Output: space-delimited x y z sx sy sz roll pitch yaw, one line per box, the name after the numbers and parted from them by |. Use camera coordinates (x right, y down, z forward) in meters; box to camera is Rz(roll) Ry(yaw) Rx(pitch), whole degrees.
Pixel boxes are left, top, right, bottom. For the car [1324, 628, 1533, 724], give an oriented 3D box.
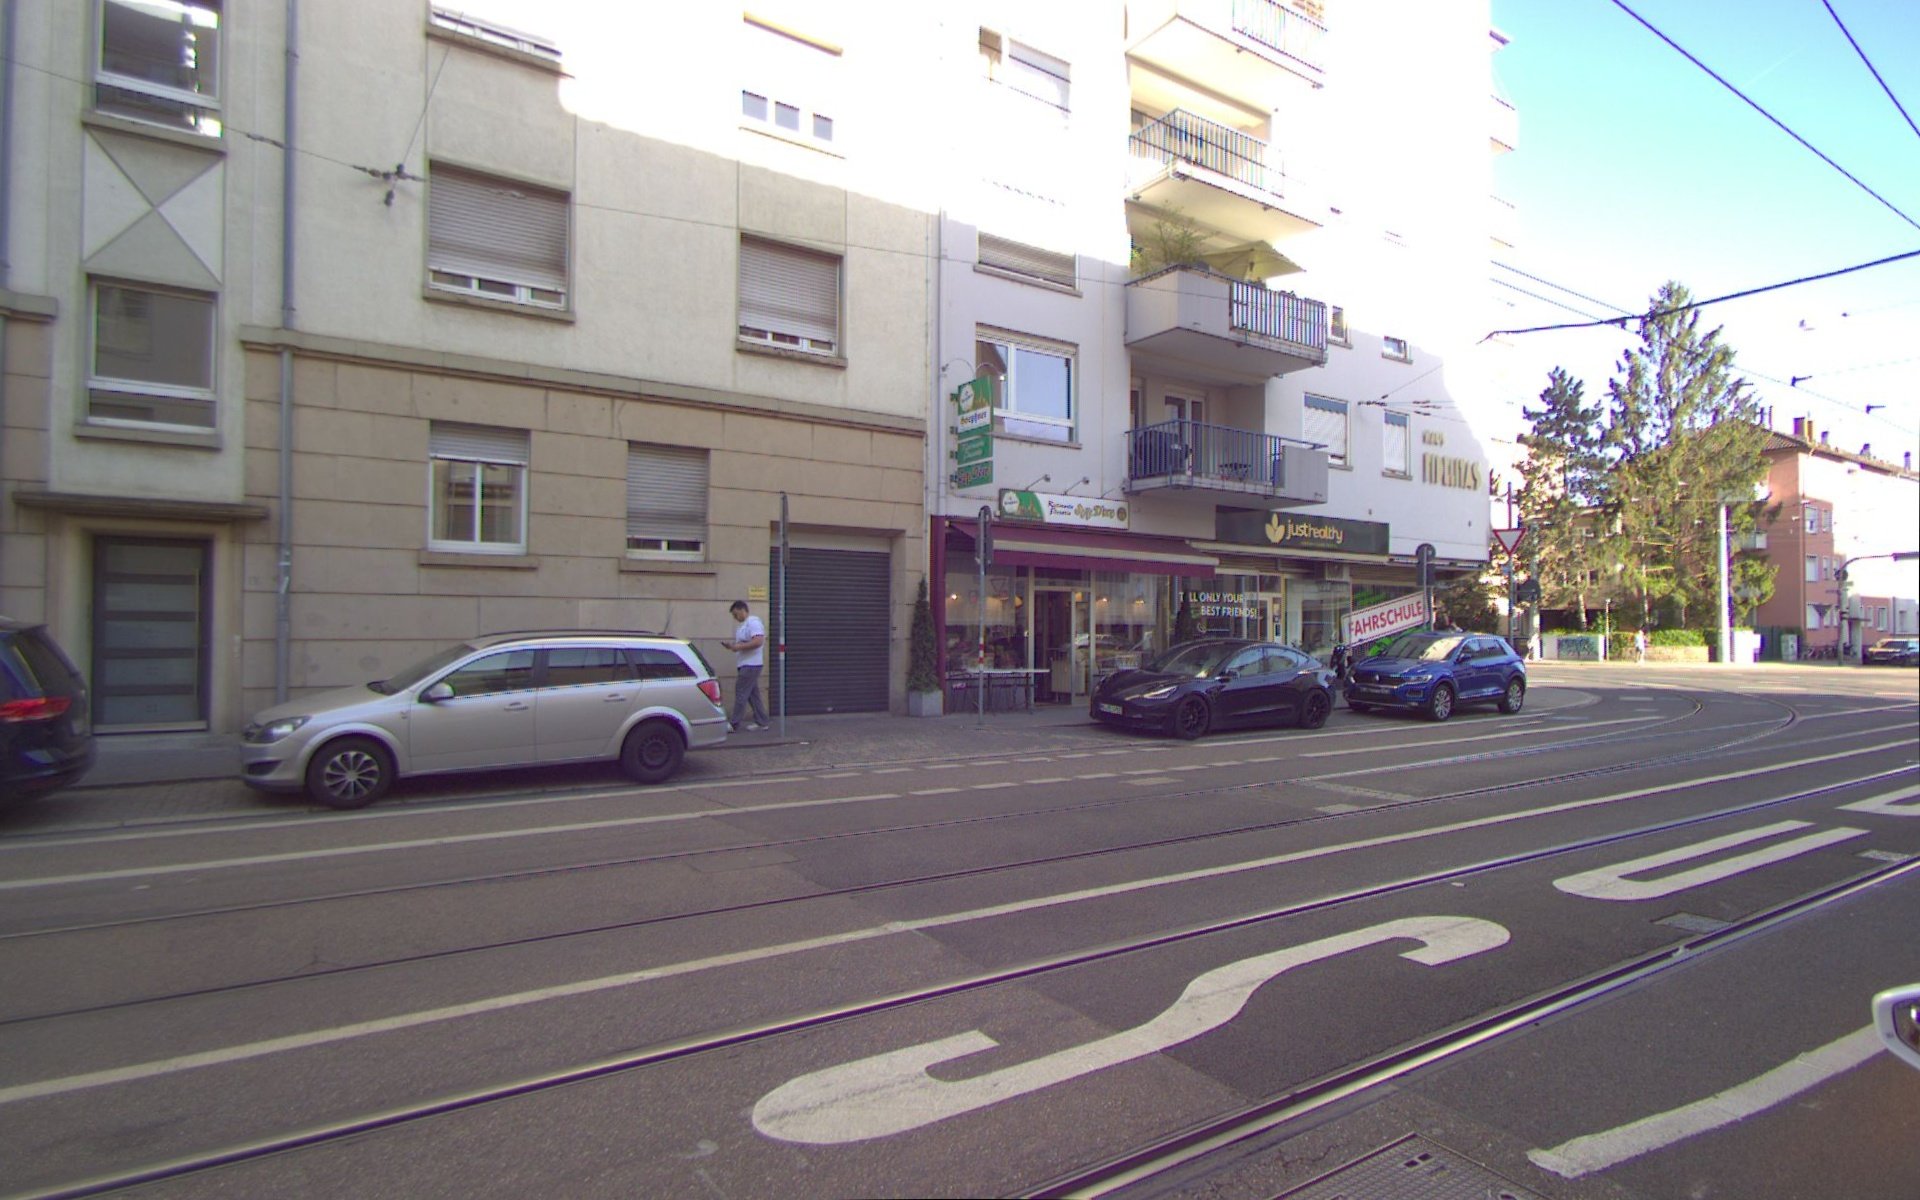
8.943 1.346 19.056 4.196 1.524 1.757 0 1 -36 | car

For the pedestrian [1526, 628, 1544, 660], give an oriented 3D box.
32.302 2.476 56.442 0.772 1.744 0.702 2 0 37 | pedestrian

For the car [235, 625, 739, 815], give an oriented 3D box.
-4.624 1.061 10.179 4.327 1.474 1.714 2 1 -35 | car

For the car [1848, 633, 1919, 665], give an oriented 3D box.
49.730 2.645 53.878 4.397 1.450 2.140 4 -1 -35 | car

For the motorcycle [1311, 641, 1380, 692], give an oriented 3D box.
9.193 1.564 23.953 1.778 1.149 0.603 2 0 -34 | motorcycle

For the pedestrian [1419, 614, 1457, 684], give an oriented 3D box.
13.545 1.386 28.475 0.727 1.925 0.573 3 -2 -15 | pedestrian

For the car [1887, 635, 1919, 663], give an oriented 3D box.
54.475 2.791 56.890 4.057 1.456 1.893 2 0 -32 | car

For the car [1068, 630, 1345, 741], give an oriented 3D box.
4.003 1.289 16.049 4.398 1.494 1.759 2 0 -33 | car

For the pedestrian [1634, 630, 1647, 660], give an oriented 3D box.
35.834 2.365 52.909 0.509 1.589 0.572 2 0 33 | pedestrian

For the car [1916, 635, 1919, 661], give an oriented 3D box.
58.336 2.895 59.406 4.185 1.546 1.731 2 0 -34 | car

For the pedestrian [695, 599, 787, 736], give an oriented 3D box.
-3.003 0.896 13.793 0.998 1.791 0.656 2 0 -40 | pedestrian

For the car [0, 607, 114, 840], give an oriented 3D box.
-8.979 0.876 7.170 4.282 1.655 1.802 2 1 -35 | car

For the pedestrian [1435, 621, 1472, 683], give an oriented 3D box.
14.758 1.538 30.039 0.653 1.816 0.733 1 -1 -27 | pedestrian
